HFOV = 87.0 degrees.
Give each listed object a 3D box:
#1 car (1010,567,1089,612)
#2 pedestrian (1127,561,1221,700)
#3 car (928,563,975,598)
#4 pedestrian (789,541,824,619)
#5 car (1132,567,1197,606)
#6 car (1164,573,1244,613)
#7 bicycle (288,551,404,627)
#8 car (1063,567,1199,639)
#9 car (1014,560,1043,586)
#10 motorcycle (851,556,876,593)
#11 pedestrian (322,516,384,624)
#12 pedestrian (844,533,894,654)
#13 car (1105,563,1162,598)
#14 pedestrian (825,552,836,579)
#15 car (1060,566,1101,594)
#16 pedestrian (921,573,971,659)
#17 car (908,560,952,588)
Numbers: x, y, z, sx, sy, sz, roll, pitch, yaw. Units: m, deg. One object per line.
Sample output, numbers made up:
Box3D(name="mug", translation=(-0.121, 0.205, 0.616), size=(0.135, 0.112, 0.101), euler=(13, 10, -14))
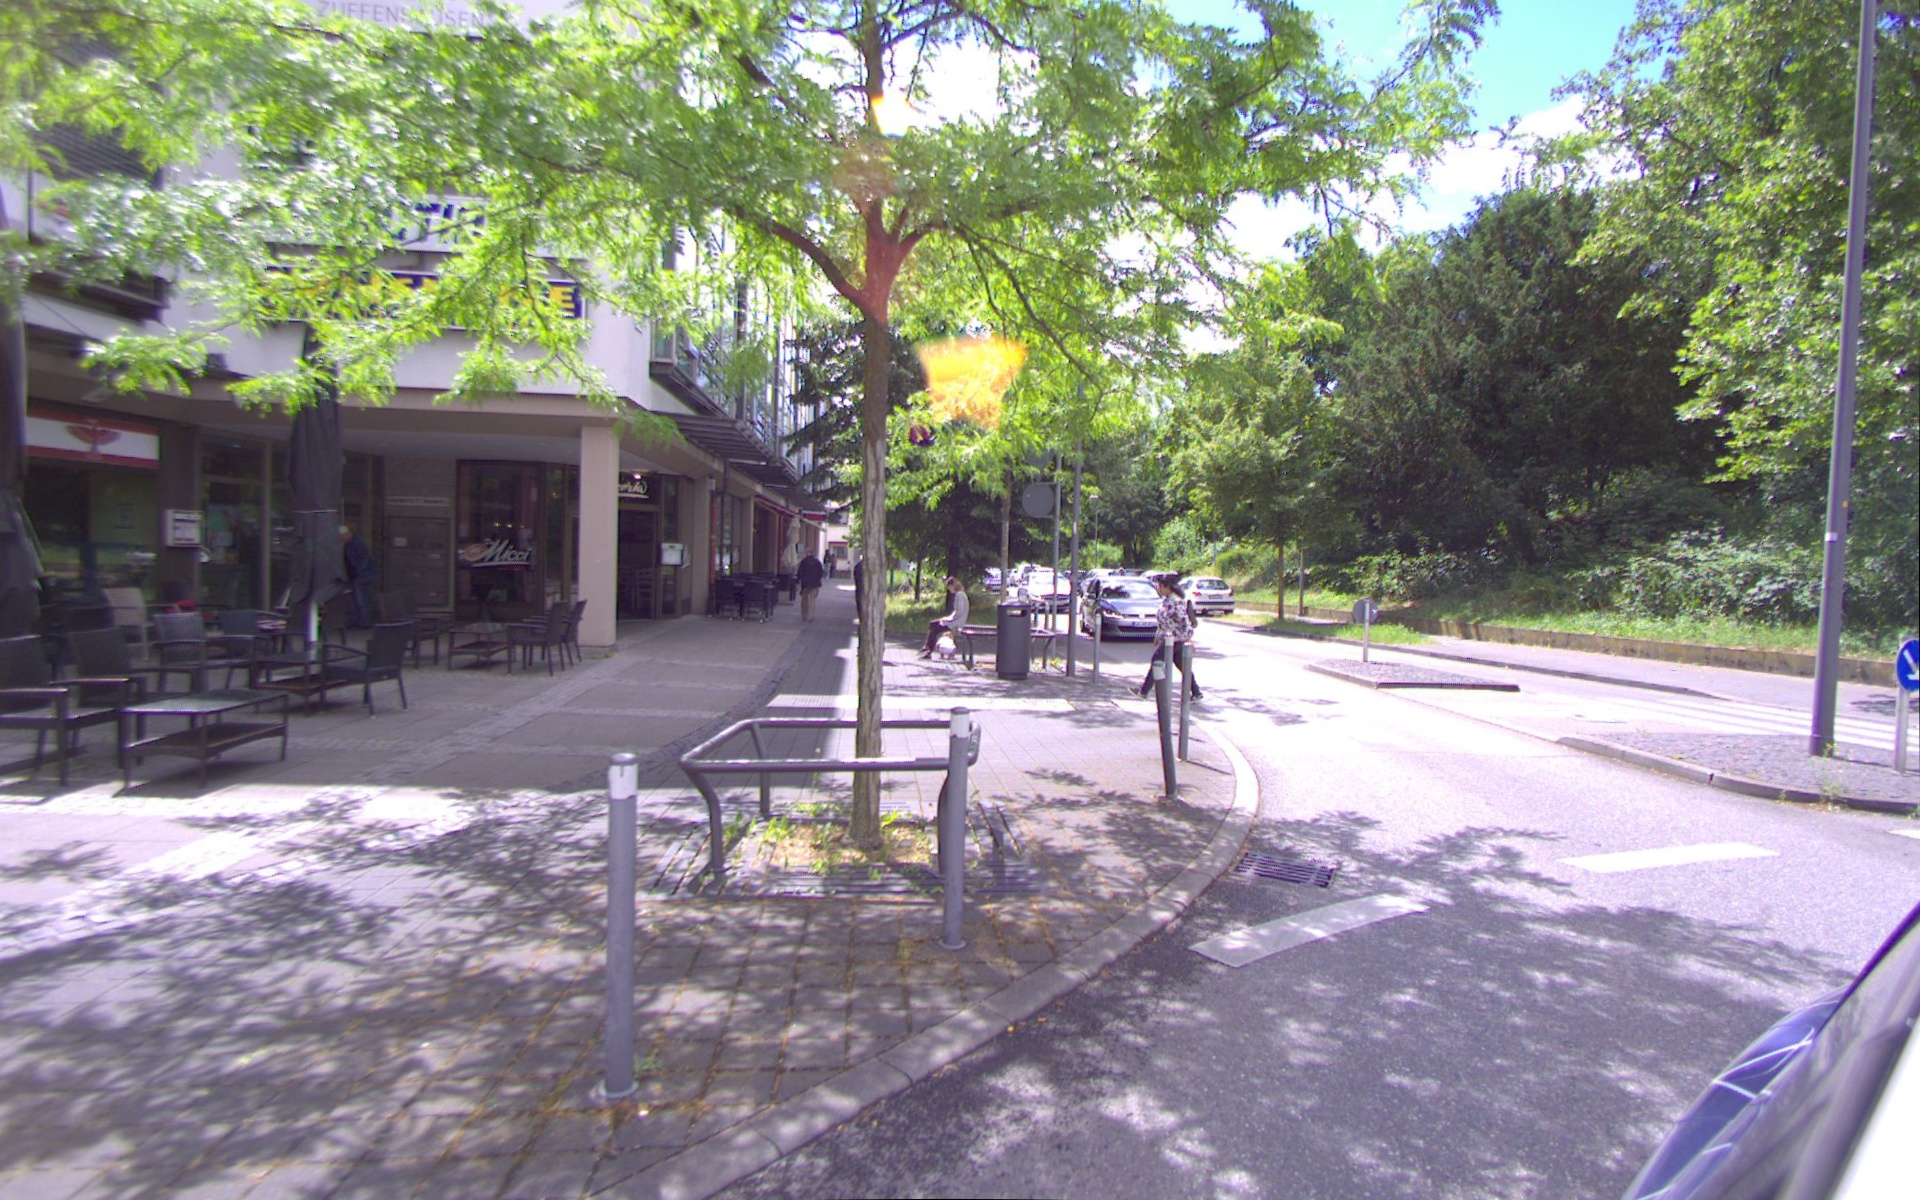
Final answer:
Box3D(name="car", translation=(3.227, -0.438, 37.428), size=(1.959, 1.526, 4.592), euler=(1, 2, -7))
Box3D(name="pedestrian", translation=(2.567, 0.342, 12.115), size=(0.776, 1.573, 0.754), euler=(3, 2, 40))
Box3D(name="car", translation=(-0.446, -0.987, 49.133), size=(1.961, 1.526, 4.590), euler=(2, 2, -4))
Box3D(name="pedestrian", translation=(-3.469, -0.457, 22.877), size=(0.604, 1.695, 0.699), euler=(2, 1, -20))
Box3D(name="car", translation=(8.680, -0.609, 43.298), size=(1.898, 1.504, 4.001), euler=(3, 2, 0))
Box3D(name="car", translation=(9.047, -0.309, 37.864), size=(1.722, 1.346, 4.005), euler=(-1, 2, -5))
Box3D(name="bicycle", translation=(-9.919, -0.175, 16.395), size=(0.493, 1.183, 1.522), euler=(2, 1, 37))
Box3D(name="car", translation=(3.968, -0.004, 24.353), size=(1.959, 1.526, 4.592), euler=(1, 2, -7))
Box3D(name="car", translation=(5.229, -2.100, 77.773), size=(1.898, 1.826, 4.001), euler=(2, 2, 0))
Box3D(name="motorcycle", translation=(-3.581, -0.967, 37.555), size=(0.841, 1.307, 2.189), euler=(2, 3, -4))
Box3D(name="pedestrian", translation=(-9.887, -0.484, 16.504), size=(0.605, 1.695, 0.699), euler=(2, 1, -7))
Box3D(name="pedestrian", translation=(-1.429, -0.108, 15.977), size=(0.684, 1.841, 0.618), euler=(2, 2, -2))
Box3D(name="car", translation=(8.144, -0.948, 47.852), size=(1.898, 1.504, 4.001), euler=(3, 2, 0))
Box3D(name="pedestrian", translation=(-8.200, -2.174, 63.985), size=(0.569, 1.695, 0.663), euler=(2, 1, -9))
Box3D(name="car", translation=(7.217, -1.236, 60.889), size=(1.898, 1.504, 4.001), euler=(3, 2, 0))
Box3D(name="pedestrian", translation=(-0.216, 0.242, 16.009), size=(0.686, 1.300, 0.616), euler=(3, 1, 6))
Box3D(name="car", translation=(-1.839, -1.568, 60.680), size=(1.958, 1.526, 4.594), euler=(2, 2, -10))
